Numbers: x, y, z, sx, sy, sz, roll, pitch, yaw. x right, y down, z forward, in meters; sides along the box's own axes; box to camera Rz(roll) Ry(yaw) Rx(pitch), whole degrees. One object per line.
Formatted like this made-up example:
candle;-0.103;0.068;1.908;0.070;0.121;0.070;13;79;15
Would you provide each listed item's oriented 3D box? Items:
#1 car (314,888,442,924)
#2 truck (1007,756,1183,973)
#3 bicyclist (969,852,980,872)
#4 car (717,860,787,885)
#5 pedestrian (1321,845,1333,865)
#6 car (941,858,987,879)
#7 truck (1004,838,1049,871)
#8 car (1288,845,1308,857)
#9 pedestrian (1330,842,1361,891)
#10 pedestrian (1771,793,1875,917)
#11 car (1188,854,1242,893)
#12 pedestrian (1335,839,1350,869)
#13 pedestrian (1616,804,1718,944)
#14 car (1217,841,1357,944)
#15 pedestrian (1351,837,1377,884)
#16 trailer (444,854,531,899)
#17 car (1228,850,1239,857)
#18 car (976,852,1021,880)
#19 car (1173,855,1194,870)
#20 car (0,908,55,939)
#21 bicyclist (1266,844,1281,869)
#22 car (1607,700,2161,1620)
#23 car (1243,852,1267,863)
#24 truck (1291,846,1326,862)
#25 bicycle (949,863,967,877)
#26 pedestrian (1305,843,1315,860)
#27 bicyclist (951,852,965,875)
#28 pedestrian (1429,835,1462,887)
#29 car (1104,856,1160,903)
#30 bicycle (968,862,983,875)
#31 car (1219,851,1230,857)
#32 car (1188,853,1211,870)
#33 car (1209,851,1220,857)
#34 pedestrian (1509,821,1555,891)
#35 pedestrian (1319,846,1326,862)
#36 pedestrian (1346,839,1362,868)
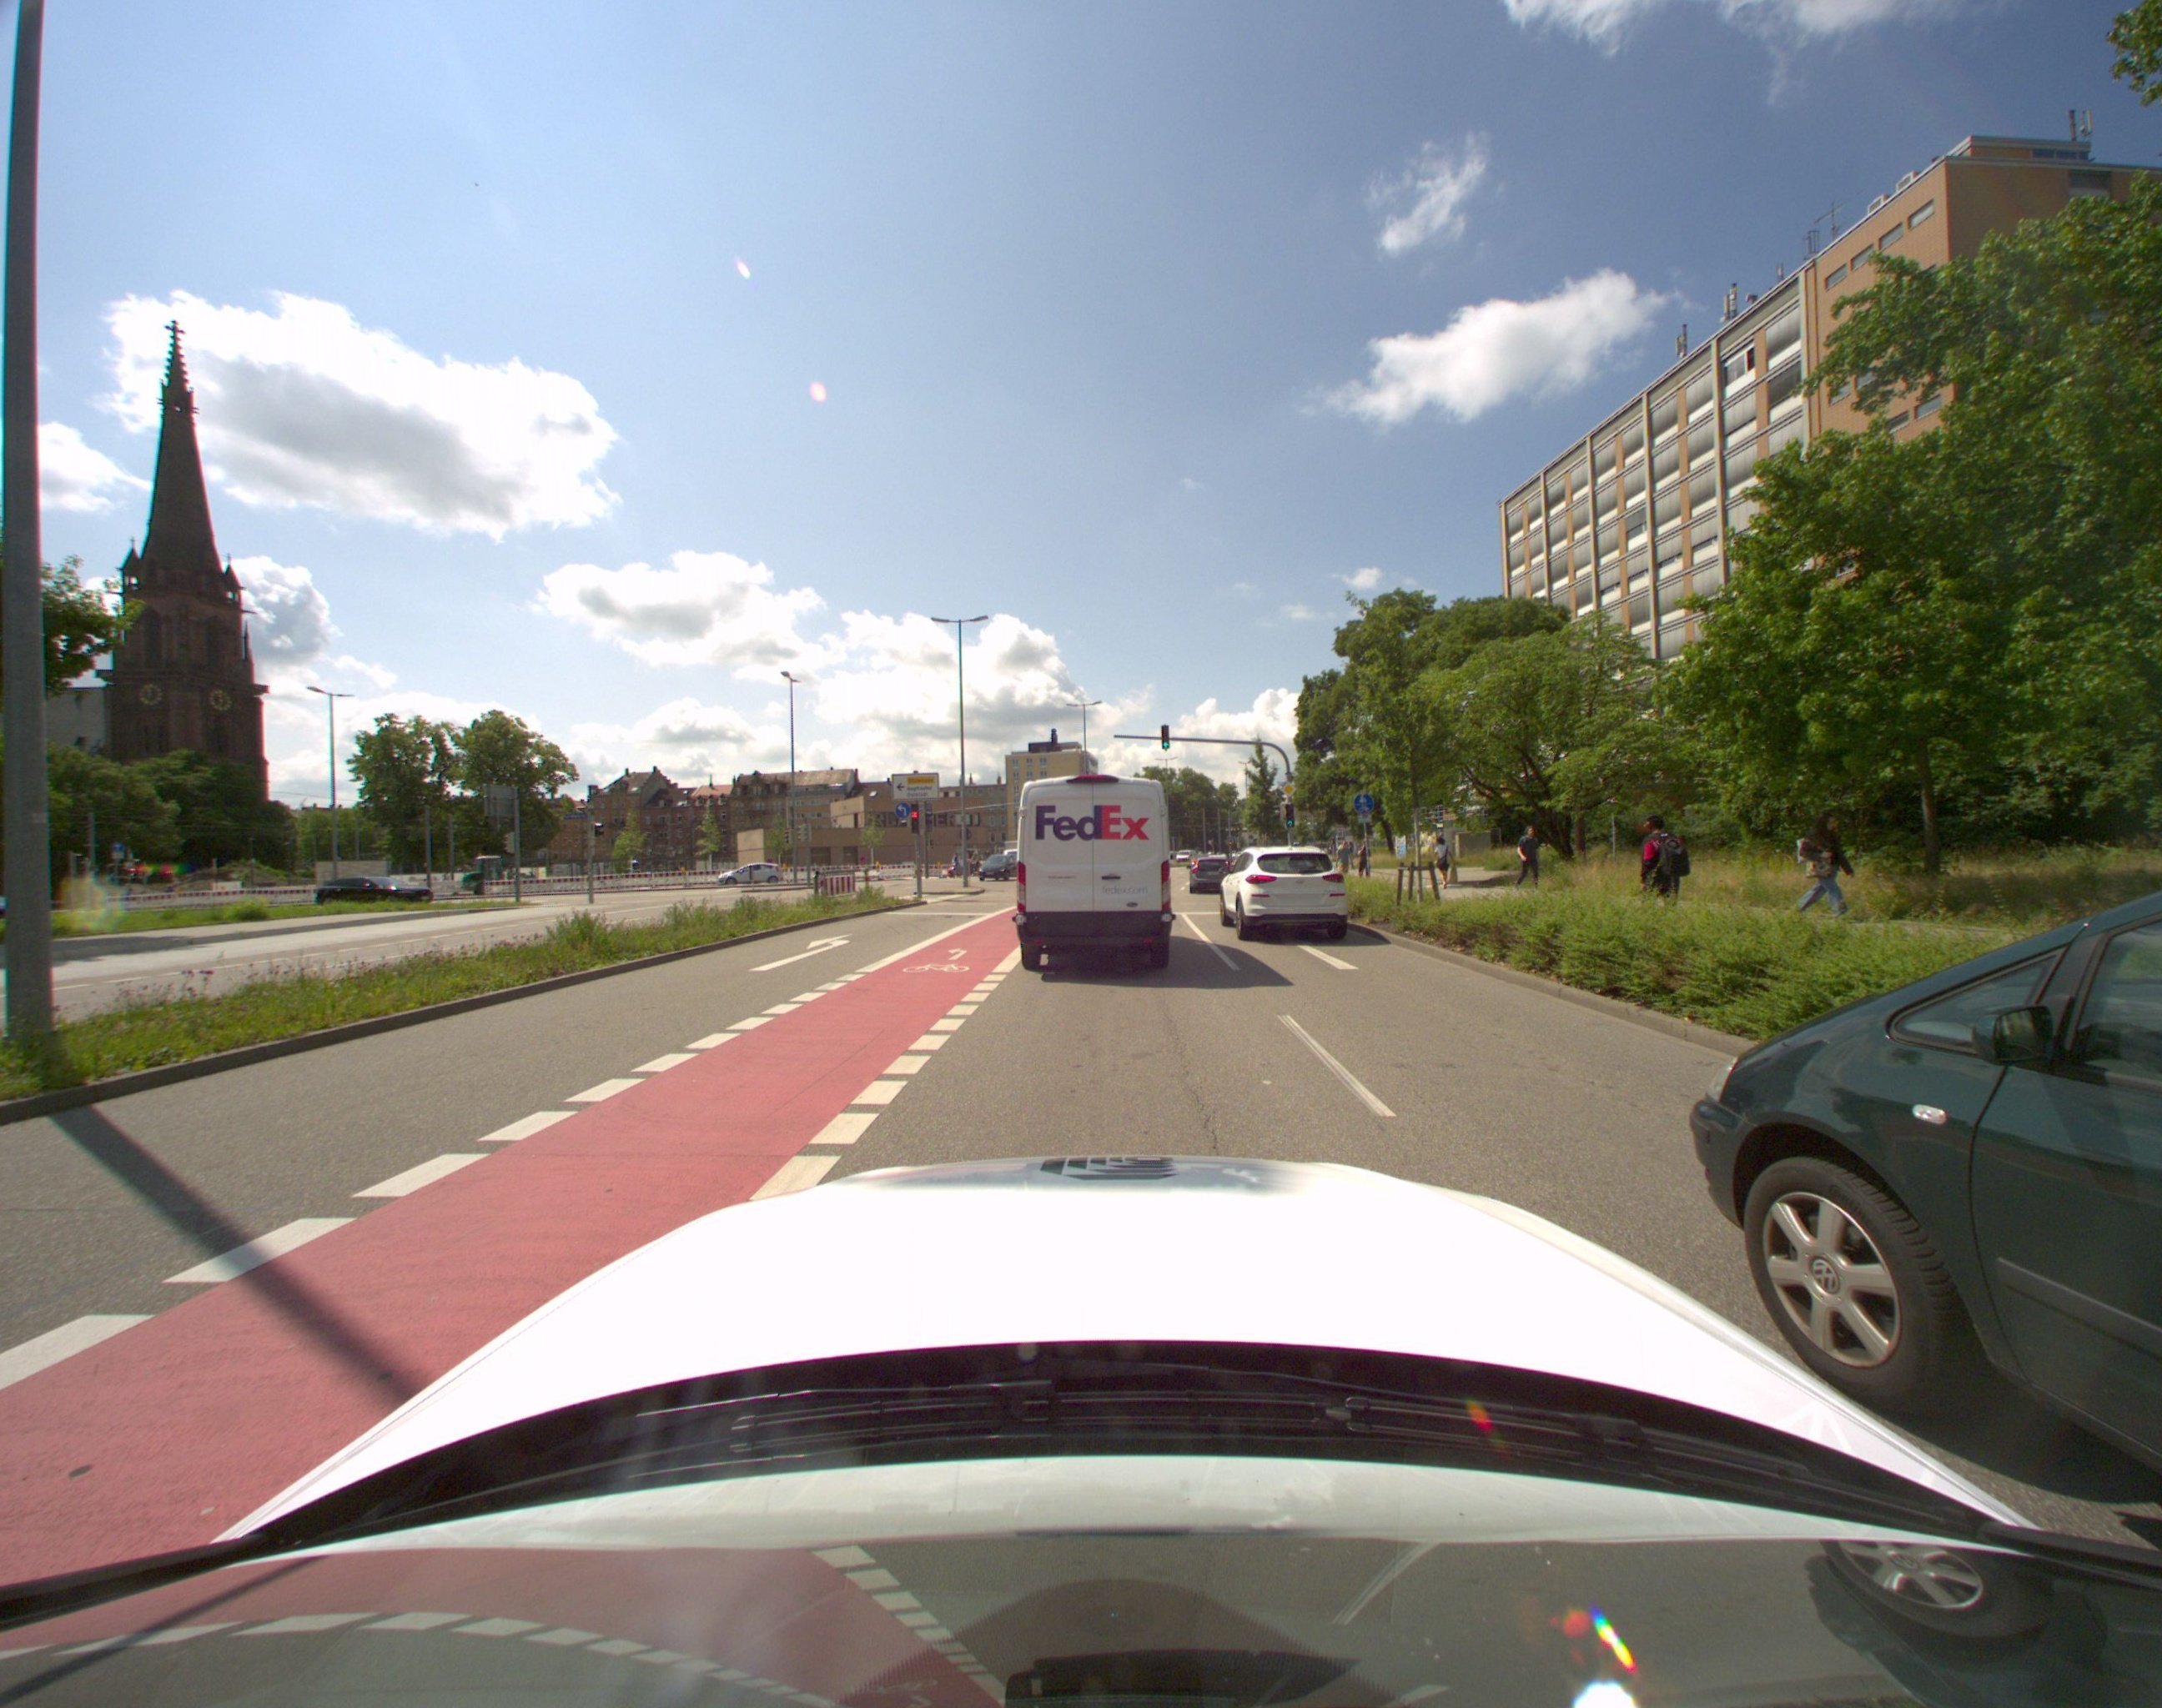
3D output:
car;-34.571;2.530;40.136;4.480;1.486;2.000;-2;0;0
truck;0.246;0.144;12.976;2.129;2.640;5.919;-1;0;1
bicyclist;-8.105;0.593;62.102;0.561;1.461;0.840;-2;0;12
car;-21.227;1.179;52.548;4.026;1.508;1.982;0;-1;-27
pedestrian;23.270;0.132;76.975;0.752;1.821;0.781;-5;-1;3
car;-9.252;1.114;64.962;1.977;1.486;3.925;-2;0;19
truck;-5.193;0.106;78.670;1.978;3.068;7.361;-1;-1;16
car;29.626;-0.408;111.159;1.864;1.641;3.980;-2;0;26
pedestrian;10.027;0.475;30.880;0.748;1.777;0.880;-3;0;-4
pedestrian;11.061;0.019;12.176;0.664;1.750;0.878;-3;0;1
car;5.372;0.750;33.069;1.905;1.420;3.924;-2;0;5
pedestrian;16.391;0.012;51.070;0.745;1.802;0.611;-3;0;8
pedestrian;7.763;0.258;10.826;0.664;1.750;0.848;-3;0;1
car;3.756;0.632;15.610;1.872;1.641;4.238;-2;0;4
pedestrian;10.837;0.229;31.153;0.665;1.746;0.608;-3;0;-5
trailer;-40.331;1.506;55.444;1.974;2.914;4.393;-1;-1;38
car;39.071;-0.080;208.323;1.976;1.574;4.201;-1;-1;23
car;-5.104;0.717;50.936;1.871;1.623;4.163;-1;0;6
car;13.940;1.116;110.831;1.977;2.014;4.143;-1;-1;19
car;-58.371;3.766;43.366;4.643;1.486;1.998;-2;0;-4
bicyclist;12.790;0.192;54.094;0.823;1.601;0.581;-4;-2;8
car;2.902;0.577;0.982;1.787;1.723;4.450;0;0;2
car;30.184;0.595;141.107;4.044;1.925;1.816;-1;-1;14
truck;45.747;0.031;163.596;2.858;2.852;8.845;-2;0;44
bicycle;-8.784;1.152;58.282;0.772;0.889;2.111;-2;0;5
pedestrian;21.687;-0.195;77.265;0.752;1.589;0.762;-1;-1;3
bicyclist;-8.804;0.687;58.227;0.772;1.618;0.844;-2;0;4
pedestrian;11.419;0.218;25.553;0.664;1.596;0.648;-3;0;1
car;1.799;0.822;28.142;1.733;1.391;4.185;-2;0;5
bicycle;-8.072;1.110;62.157;0.563;0.889;1.749;-2;0;12
car;36.911;-0.044;209.572;1.976;1.574;4.201;-1;-1;23
car;11.577;0.729;79.345;1.868;1.506;4.170;-1;0;13
car;34.486;-0.009;210.623;1.976;1.574;4.201;-1;-1;23
pedestrian;11.718;0.040;21.192;0.746;1.750;0.667;-3;0;1
pedestrian;23.464;0.007;79.239;0.583;1.626;0.730;-1;-1;10
pedestrian;17.220;-0.028;51.377;0.745;1.752;0.611;-3;0;8
